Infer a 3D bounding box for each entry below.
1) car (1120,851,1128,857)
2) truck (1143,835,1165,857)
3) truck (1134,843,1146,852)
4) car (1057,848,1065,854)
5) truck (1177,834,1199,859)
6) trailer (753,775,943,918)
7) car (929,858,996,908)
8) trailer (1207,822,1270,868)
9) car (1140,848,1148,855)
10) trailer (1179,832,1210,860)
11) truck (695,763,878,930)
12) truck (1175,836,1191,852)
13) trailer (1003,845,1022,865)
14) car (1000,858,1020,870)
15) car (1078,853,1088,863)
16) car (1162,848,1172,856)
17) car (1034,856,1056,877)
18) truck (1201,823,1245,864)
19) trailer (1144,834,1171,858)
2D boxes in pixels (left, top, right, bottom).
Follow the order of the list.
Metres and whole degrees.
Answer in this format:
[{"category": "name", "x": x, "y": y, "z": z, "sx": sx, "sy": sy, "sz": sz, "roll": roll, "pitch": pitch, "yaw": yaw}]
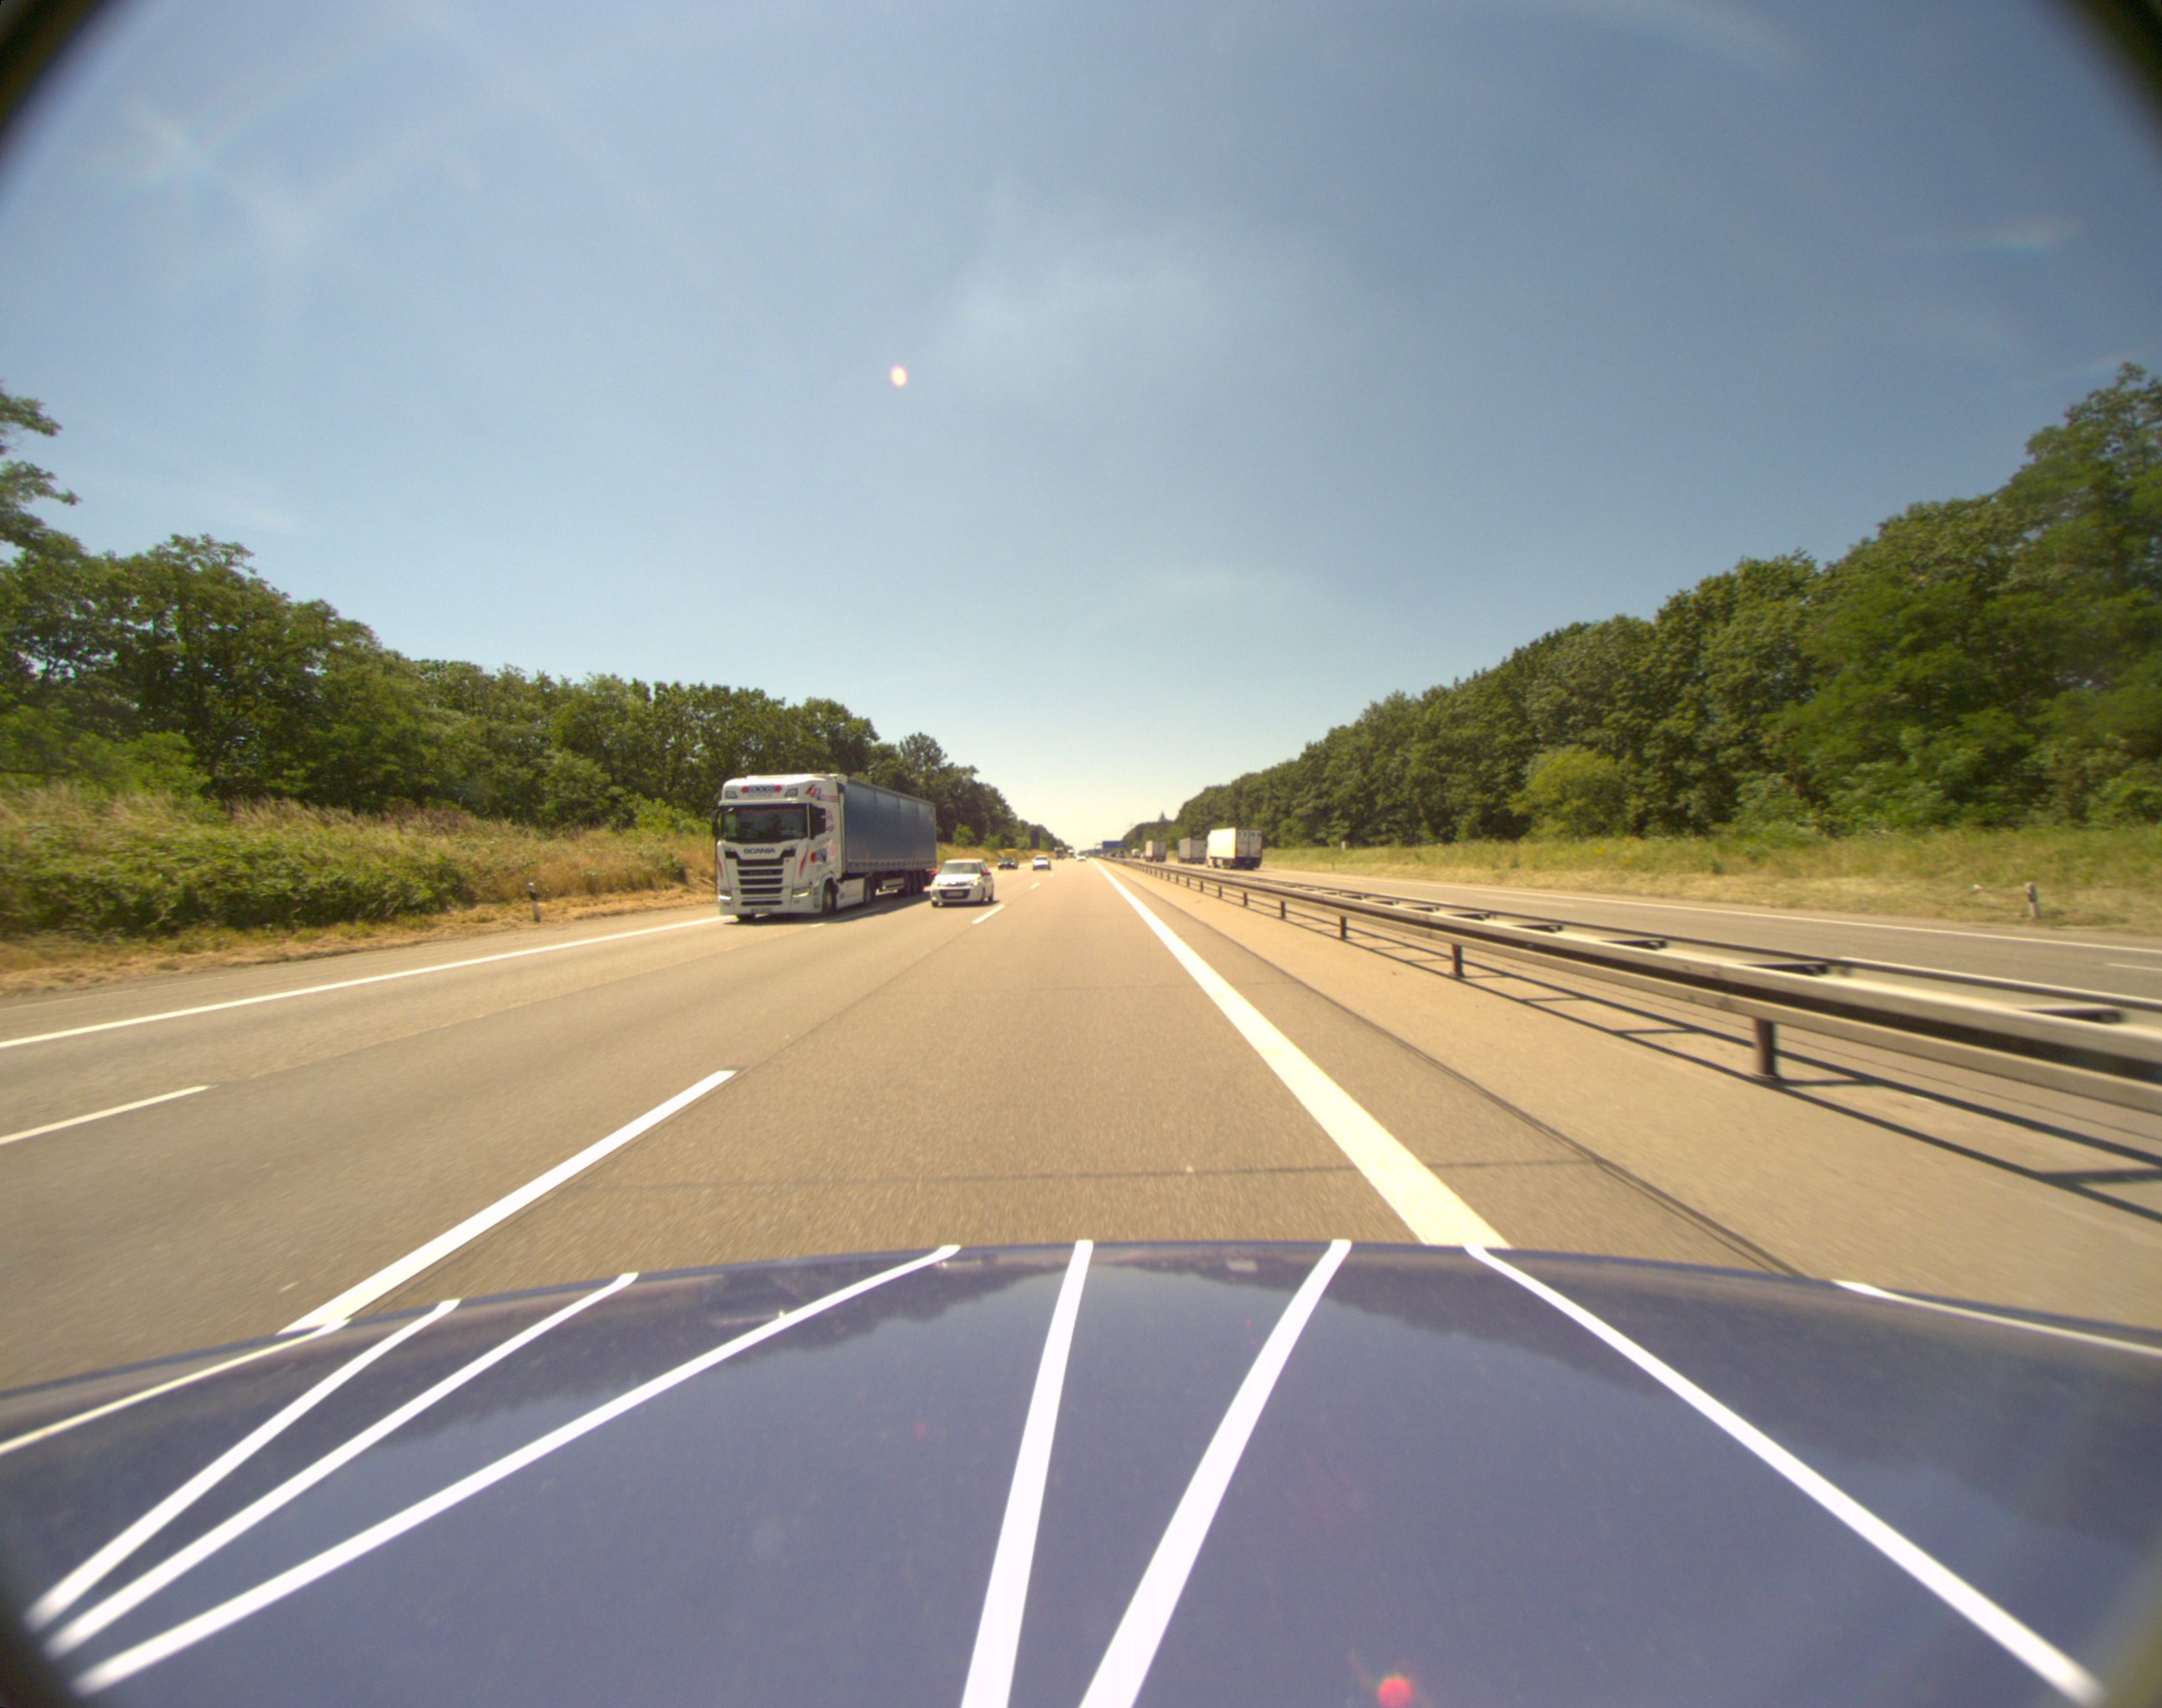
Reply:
[{"category": "car", "x": 11.832, "y": -0.029, "z": 208.506, "sx": 1.781, "sy": 1.543, "sz": 3.998, "roll": -2, "pitch": 1, "yaw": -3}, {"category": "truck", "x": 14.445, "y": -1.620, "z": 151.546, "sx": 3.539, "sy": 4.160, "sz": 7.112, "roll": 2, "pitch": 1, "yaw": 0}, {"category": "truck", "x": 20.832, "y": -2.308, "z": 269.568, "sx": 3.541, "sy": 2.750, "sz": 8.794, "roll": -2, "pitch": 1, "yaw": 0}, {"category": "car", "x": -5.977, "y": -0.917, "z": 229.515, "sx": 1.998, "sy": 2.002, "sz": 4.000, "roll": -2, "pitch": 1, "yaw": 1}, {"category": "truck", "x": 18.482, "y": -1.359, "z": 131.627, "sx": 2.940, "sy": 4.160, "sz": 6.039, "roll": 2, "pitch": 1, "yaw": 0}, {"category": "trailer", "x": -7.942, "y": -0.278, "z": 28.802, "sx": 2.603, "sy": 3.980, "sz": 14.079, "roll": -2, "pitch": 1, "yaw": 1}, {"category": "car", "x": -3.761, "y": 0.882, "z": 24.629, "sx": 1.581, "sy": 1.412, "sz": 3.352, "roll": -2, "pitch": 1, "yaw": 1}, {"category": "trailer", "x": 15.980, "y": -0.919, "z": 78.288, "sx": 3.539, "sy": 4.160, "sz": 13.604, "roll": 2, "pitch": 1, "yaw": 0}, {"category": "car", "x": 20.455, "y": -0.823, "z": 245.351, "sx": 1.999, "sy": 2.002, "sz": 3.999, "roll": -2, "pitch": 1, "yaw": -2}, {"category": "trailer", "x": 18.464, "y": -1.296, "z": 124.907, "sx": 2.940, "sy": 4.160, "sz": 13.853, "roll": 2, "pitch": 1, "yaw": 0}, {"category": "truck", "x": -8.005, "y": -0.209, "z": 21.631, "sx": 2.603, "sy": 3.980, "sz": 6.173, "roll": -2, "pitch": 1, "yaw": 1}, {"category": "truck", "x": 18.940, "y": -1.842, "z": 141.316, "sx": 2.162, "sy": 2.752, "sz": 6.107, "roll": -2, "pitch": 1, "yaw": 0}, {"category": "trailer", "x": -7.914, "y": 0.130, "z": 88.173, "sx": 1.849, "sy": 2.196, "sz": 3.196, "roll": -2, "pitch": 1, "yaw": 1}, {"category": "car", "x": -7.907, "y": 1.100, "z": 84.908, "sx": 1.845, "sy": 1.275, "sz": 3.352, "roll": -2, "pitch": 1, "yaw": 1}, {"category": "car", "x": 0.422, "y": 0.818, "z": 158.407, "sx": 1.998, "sy": 2.002, "sz": 4.000, "roll": -2, "pitch": 1, "yaw": 1}, {"category": "car", "x": 20.153, "y": -0.526, "z": 178.263, "sx": 1.836, "sy": 1.844, "sz": 5.236, "roll": 1, "pitch": 1, "yaw": 0}, {"category": "car", "x": -3.596, "y": 1.225, "z": 76.579, "sx": 1.998, "sy": 2.002, "sz": 4.000, "roll": -2, "pitch": 1, "yaw": 1}, {"category": "truck", "x": 16.024, "y": -1.180, "z": 86.356, "sx": 3.539, "sy": 4.296, "sz": 7.057, "roll": 2, "pitch": 1, "yaw": 0}, {"category": "trailer", "x": 14.464, "y": -1.557, "z": 144.795, "sx": 3.539, "sy": 4.160, "sz": 13.661, "roll": 2, "pitch": 1, "yaw": 0}]
